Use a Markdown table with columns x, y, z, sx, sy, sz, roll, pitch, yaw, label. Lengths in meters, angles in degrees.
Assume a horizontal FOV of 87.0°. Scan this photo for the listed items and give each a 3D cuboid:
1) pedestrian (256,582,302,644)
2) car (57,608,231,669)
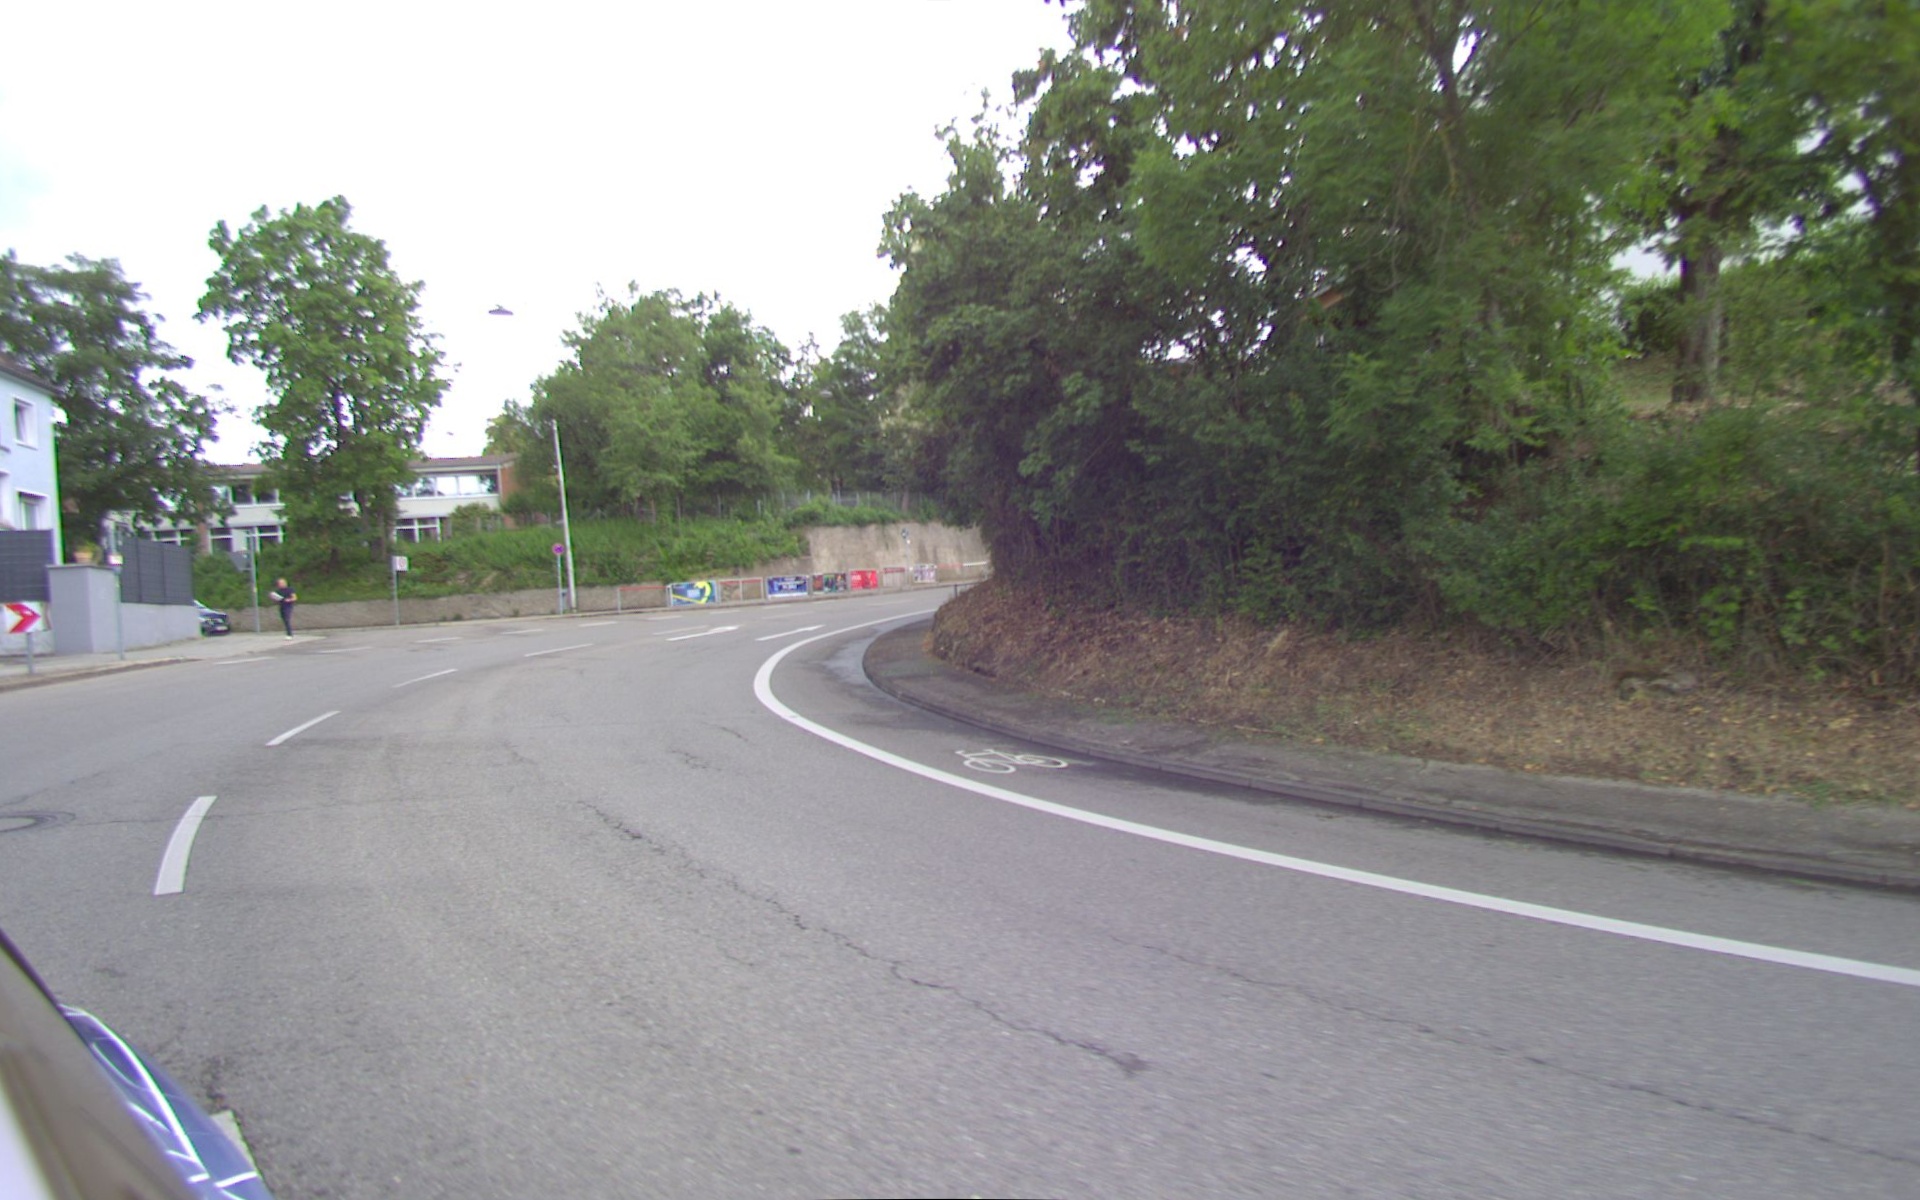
| x | y | z | sx | sy | sz | roll | pitch | yaw | label |
| --- | --- | --- | --- | --- | --- | --- | --- | --- | --- |
| -20.764 | 0.384 | 30.864 | 0.571 | 1.842 | 0.976 | -2 | 0 | 26 | pedestrian |
| -29.914 | 1.379 | 37.197 | 4.772 | 1.878 | 1.951 | -3 | 0 | 0 | car |
